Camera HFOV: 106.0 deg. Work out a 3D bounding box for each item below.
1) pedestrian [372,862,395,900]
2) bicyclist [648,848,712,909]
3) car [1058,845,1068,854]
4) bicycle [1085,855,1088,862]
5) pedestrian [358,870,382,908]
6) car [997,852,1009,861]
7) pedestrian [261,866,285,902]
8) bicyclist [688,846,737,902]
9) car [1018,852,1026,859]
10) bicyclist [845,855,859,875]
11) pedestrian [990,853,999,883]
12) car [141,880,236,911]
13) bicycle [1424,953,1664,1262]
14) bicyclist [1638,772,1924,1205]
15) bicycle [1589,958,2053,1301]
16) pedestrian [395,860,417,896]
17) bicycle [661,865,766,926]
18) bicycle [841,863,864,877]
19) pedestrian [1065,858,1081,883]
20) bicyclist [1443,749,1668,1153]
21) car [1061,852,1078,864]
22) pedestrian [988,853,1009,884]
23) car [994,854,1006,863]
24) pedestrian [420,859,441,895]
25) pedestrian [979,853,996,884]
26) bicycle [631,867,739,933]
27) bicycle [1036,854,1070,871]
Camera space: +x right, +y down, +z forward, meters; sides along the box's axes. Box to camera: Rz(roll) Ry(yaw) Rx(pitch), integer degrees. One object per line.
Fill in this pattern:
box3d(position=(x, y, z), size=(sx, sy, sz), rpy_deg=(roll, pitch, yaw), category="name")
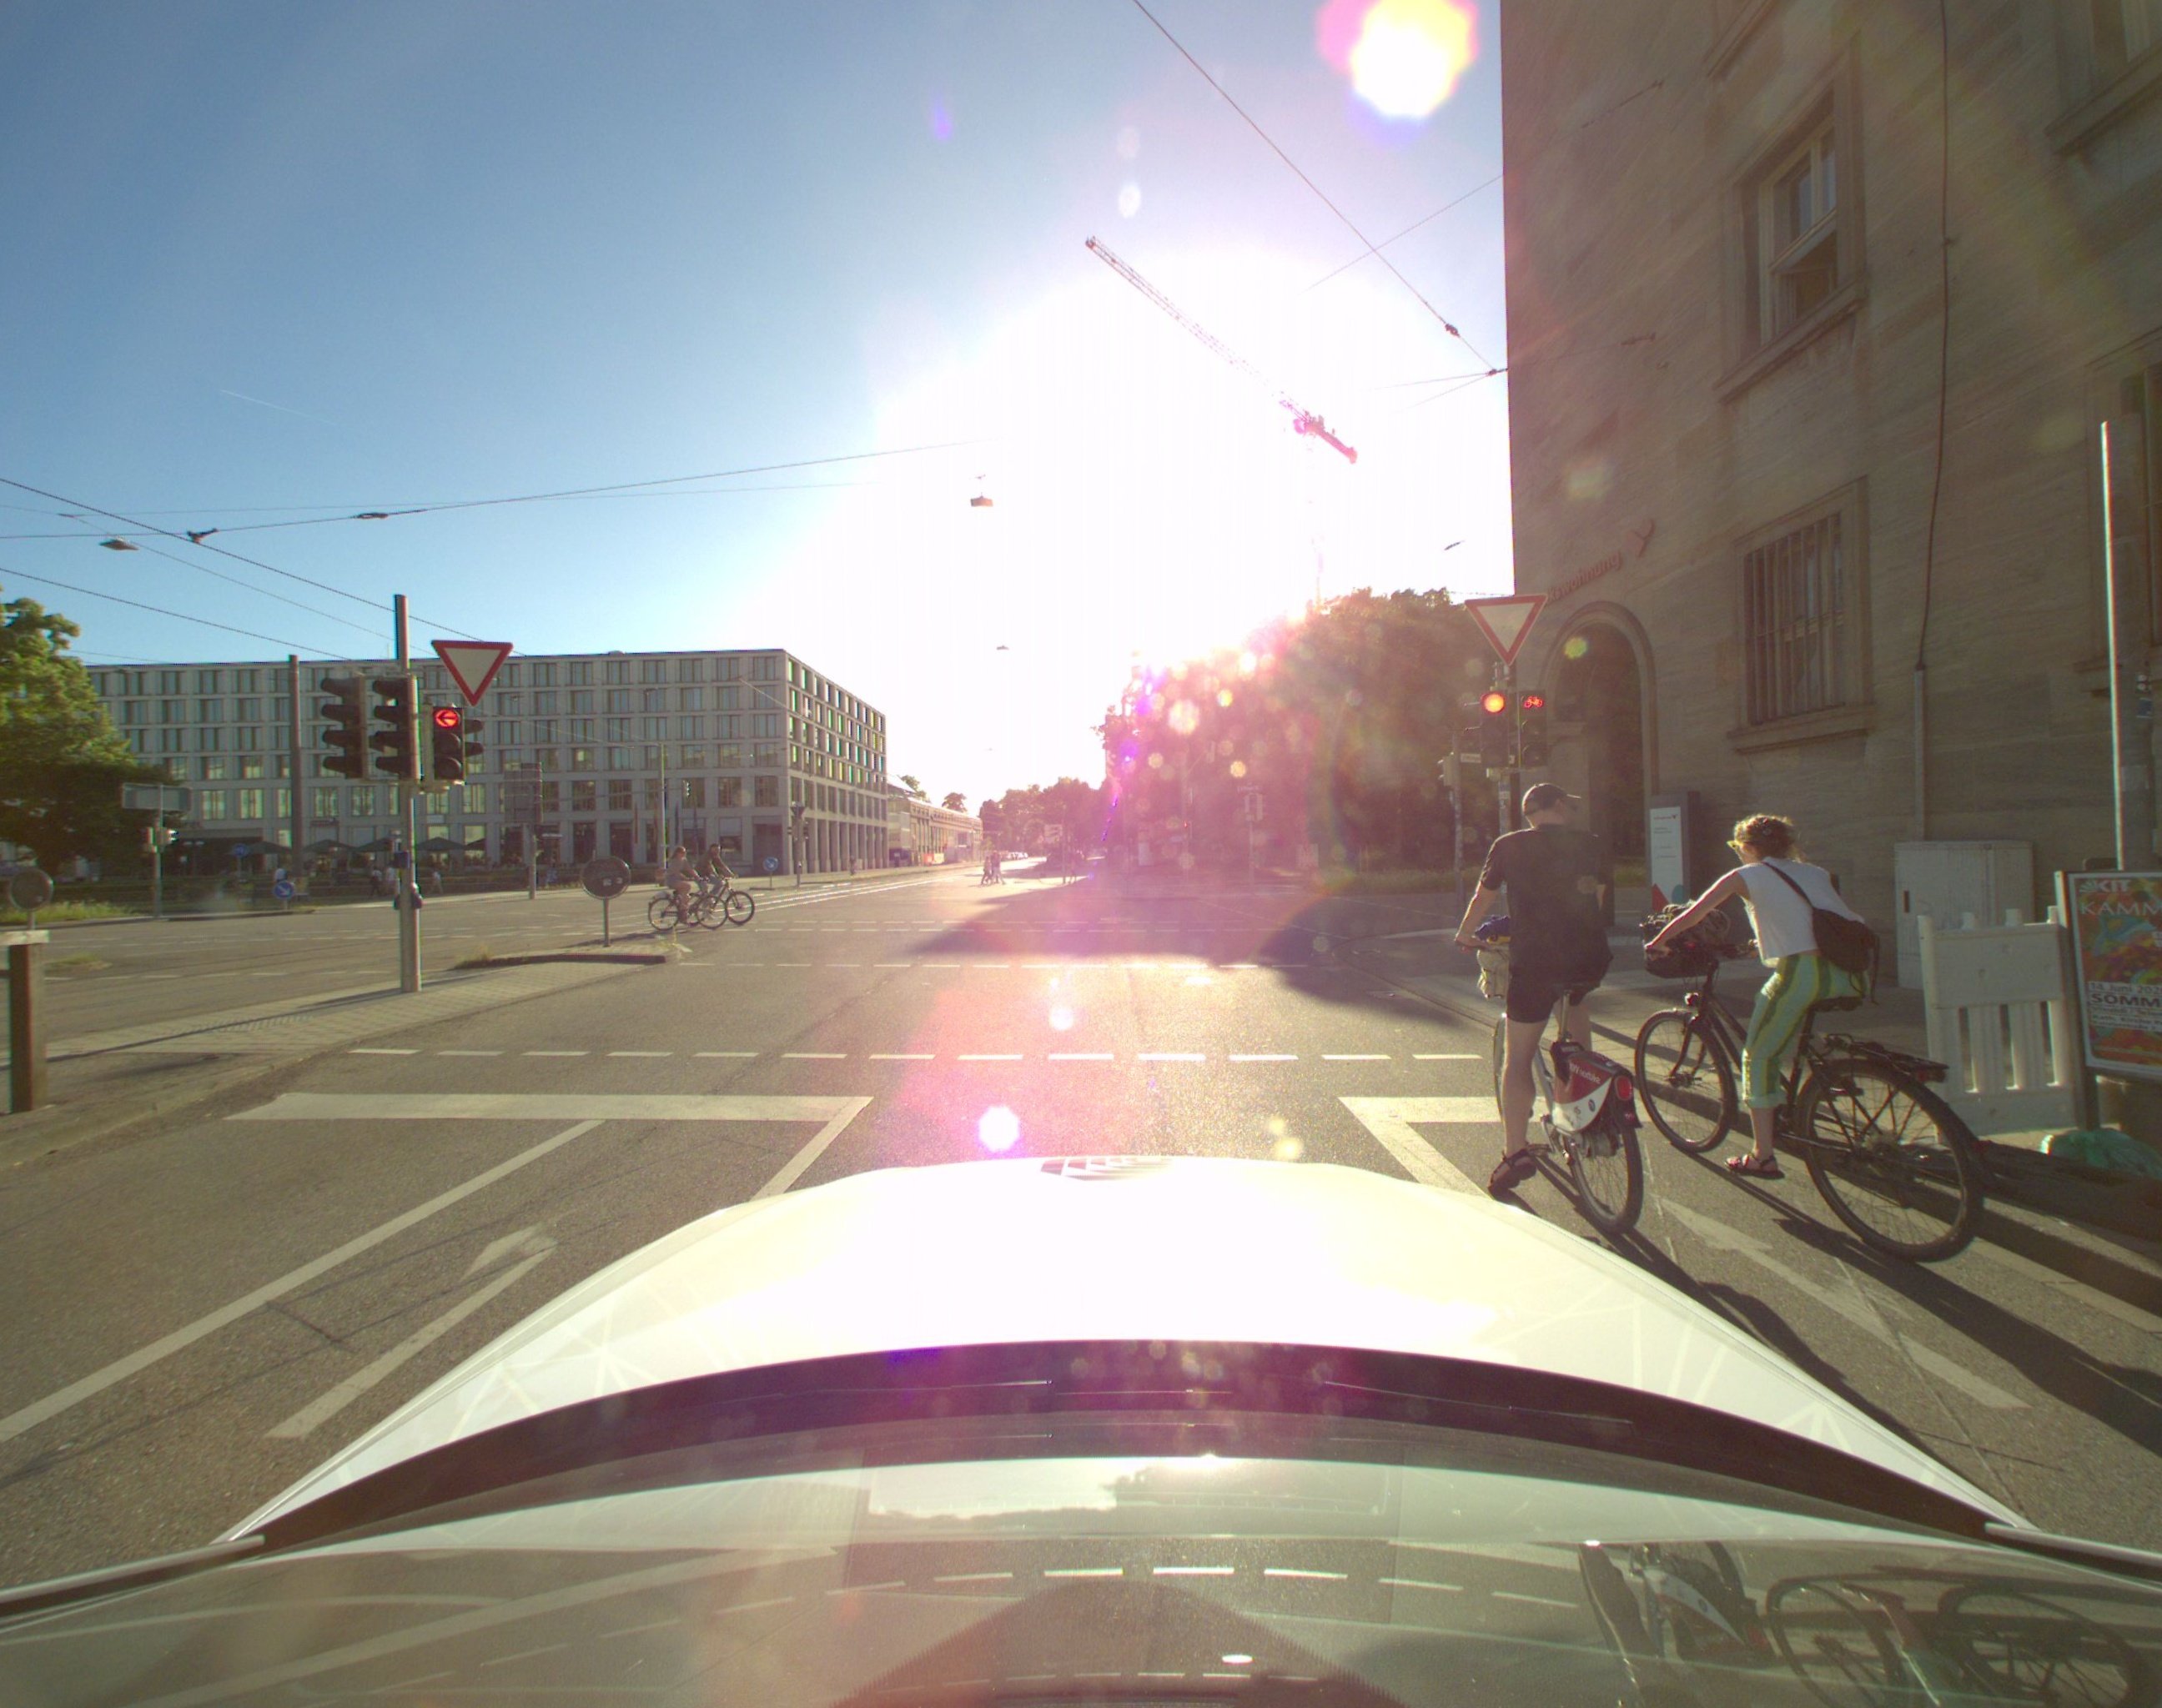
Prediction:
box3d(position=(-38.186, 1.476, 44.594), size=(0.528, 2.013, 0.800), rpy_deg=(-2, 0, -5), category="pedestrian")
box3d(position=(-8.425, 0.499, 17.131), size=(0.922, 1.218, 0.796), rpy_deg=(-2, 0, -1), category="bicyclist")
box3d(position=(-4.248, -1.060, 194.739), size=(1.986, 2.013, 4.002), rpy_deg=(-2, 0, 2), category="car")
box3d(position=(0.714, 0.516, 99.177), size=(0.323, 0.868, 1.484), rpy_deg=(-2, 0, 2), category="bicycle")
box3d(position=(-38.075, 1.871, 43.614), size=(0.528, 2.013, 0.800), rpy_deg=(-2, 0, -5), category="pedestrian")
box3d(position=(-15.391, 0.451, 160.749), size=(1.724, 1.653, 4.002), rpy_deg=(-2, 0, 2), category="car")
box3d(position=(-43.685, 1.604, 44.013), size=(0.557, 1.903, 0.684), rpy_deg=(-2, 0, 10), category="pedestrian")
box3d(position=(-8.350, 0.444, 18.477), size=(0.718, 1.218, 0.798), rpy_deg=(-2, 0, 1), category="bicyclist")
box3d(position=(-14.047, 0.345, 194.841), size=(1.478, 1.750, 4.002), rpy_deg=(-2, 0, 2), category="car")
box3d(position=(-19.013, 0.902, 67.562), size=(0.872, 1.641, 0.822), rpy_deg=(-2, 0, 3), category="bicyclist")
box3d(position=(-4.802, 0.790, 45.280), size=(0.440, 1.662, 0.376), rpy_deg=(-2, 0, 1), category="pedestrian")
box3d(position=(-46.908, 2.165, 42.833), size=(3.178, 1.438, 1.469), rpy_deg=(-2, 0, -4), category="car")
box3d(position=(2.141, 1.065, 4.022), size=(0.387, 0.905, 1.956), rpy_deg=(-2, 0, 10), category="bicycle")
box3d(position=(3.022, 0.527, 3.608), size=(0.519, 1.679, 0.860), rpy_deg=(-2, 0, 5), category="bicyclist")
box3d(position=(3.051, 1.036, 3.666), size=(0.424, 0.876, 1.953), rpy_deg=(-2, 0, 5), category="bicycle")
box3d(position=(-37.658, 1.335, 45.462), size=(0.528, 2.013, 0.800), rpy_deg=(-2, 0, -5), category="pedestrian")
box3d(position=(-8.299, 0.933, 18.461), size=(1.979, 1.291, 0.792), rpy_deg=(-2, 0, 0), category="bicycle")
box3d(position=(-19.004, 1.309, 67.748), size=(0.872, 1.121, 3.015), rpy_deg=(-2, 0, 3), category="bicycle")
box3d(position=(-0.440, 0.871, 44.585), size=(0.749, 1.332, 0.743), rpy_deg=(-2, 0, 3), category="pedestrian")
box3d(position=(2.141, 0.410, 3.763), size=(0.666, 1.678, 0.658), rpy_deg=(-2, 0, 10), category="bicyclist")
box3d(position=(-1.211, 0.440, 91.163), size=(1.814, 1.279, 3.999), rpy_deg=(-2, 0, 0), category="car")
box3d(position=(-4.406, 0.761, 43.542), size=(0.980, 1.587, 0.661), rpy_deg=(-2, -1, 3), category="pedestrian")
box3d(position=(-15.590, 0.887, 156.555), size=(1.724, 1.653, 4.002), rpy_deg=(-2, 0, 2), category="car")
box3d(position=(-36.659, 1.283, 45.891), size=(0.528, 2.013, 0.800), rpy_deg=(-2, 0, -5), category="pedestrian")
box3d(position=(-5.057, 0.772, 43.914), size=(0.792, 1.639, 0.534), rpy_deg=(-2, 0, 4), category="pedestrian")
box3d(position=(-8.299, 0.948, 17.135), size=(1.846, 1.291, 0.791), rpy_deg=(-2, 0, -2), category="bicycle")
box3d(position=(-2.325, 0.733, 67.368), size=(2.728, 1.367, 0.633), rpy_deg=(-1, -1, 12), category="bicycle")
